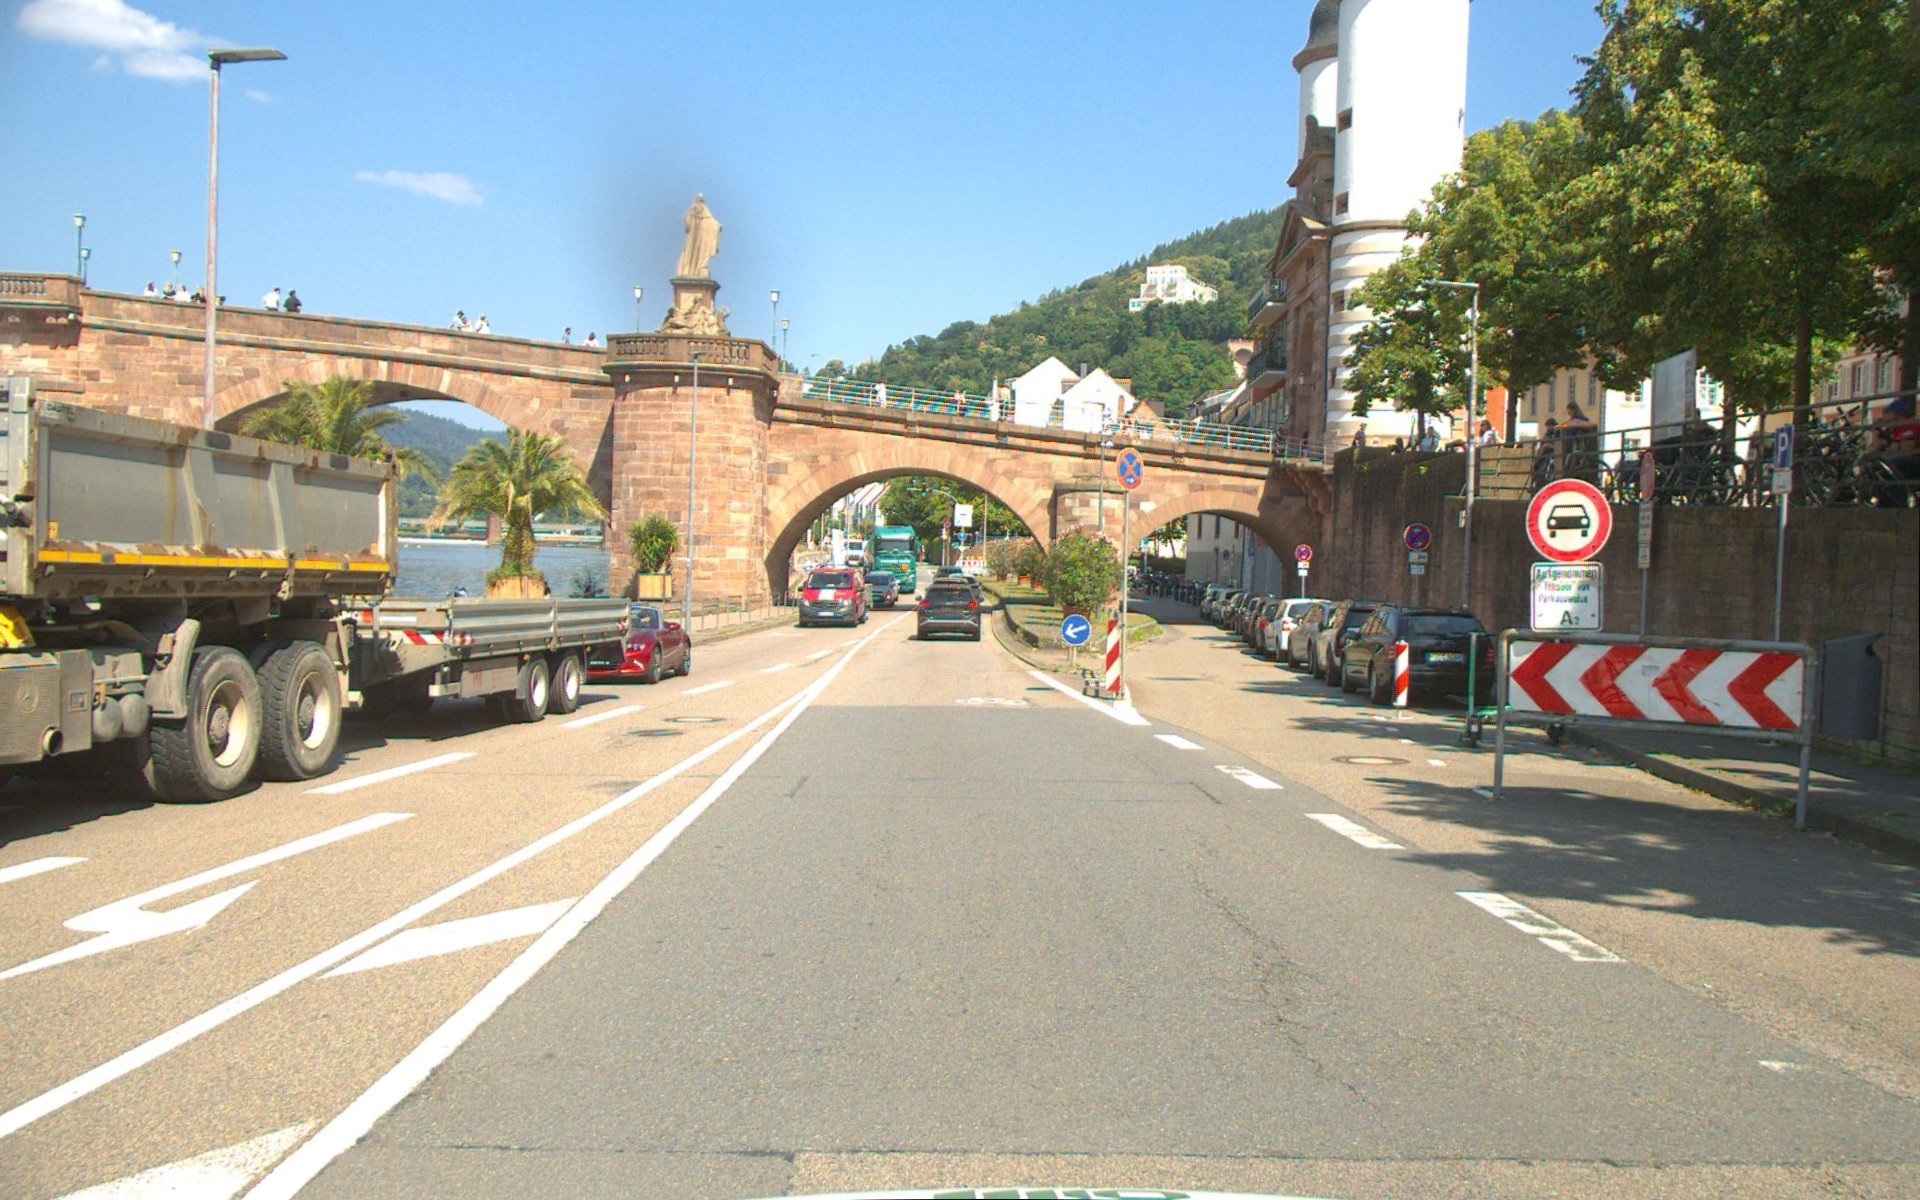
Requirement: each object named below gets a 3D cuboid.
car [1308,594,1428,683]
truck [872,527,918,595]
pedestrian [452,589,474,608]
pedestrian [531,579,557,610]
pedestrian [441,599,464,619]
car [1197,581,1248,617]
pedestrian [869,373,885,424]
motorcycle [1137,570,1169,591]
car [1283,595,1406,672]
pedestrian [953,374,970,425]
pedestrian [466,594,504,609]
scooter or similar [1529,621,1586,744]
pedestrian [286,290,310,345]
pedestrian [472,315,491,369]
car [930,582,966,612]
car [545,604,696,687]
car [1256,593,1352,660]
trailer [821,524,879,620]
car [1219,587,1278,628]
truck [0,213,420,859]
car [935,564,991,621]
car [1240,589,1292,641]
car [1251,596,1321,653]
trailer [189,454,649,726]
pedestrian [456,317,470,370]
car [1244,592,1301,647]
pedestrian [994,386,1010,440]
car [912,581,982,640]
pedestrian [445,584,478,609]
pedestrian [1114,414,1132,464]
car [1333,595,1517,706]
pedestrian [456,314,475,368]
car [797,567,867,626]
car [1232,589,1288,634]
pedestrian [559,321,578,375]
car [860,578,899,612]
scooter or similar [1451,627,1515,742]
[{"bbox_3d":[7.330,0.643,30.024,1.578,1.438,3.906,1,1,6],"label":"car"},{"bbox_3d":[-3.747,-2.325,96.126,2.472,3.813,6.247,0,2,-1],"label":"truck"},{"bbox_3d":[-15.673,-0.046,52.138,0.453,0.574,0.515,-3,0,11],"label":"pedestrian"},{"bbox_3d":[-17.326,-0.221,68.950,0.711,1.262,1.146,1,0,5],"label":"pedestrian"},{"bbox_3d":[-15.568,0.268,50.754,0.453,0.574,0.515,-3,0,11],"label":"pedestrian"},{"bbox_3d":[11.837,-0.062,74.835,1.853,1.518,4.419,1,1,4],"label":"car"},{"bbox_3d":[-3.438,-8.353,68.584,0.569,2.049,0.586,1,0,1],"label":"pedestrian"},{"bbox_3d":[12.085,-1.194,103.623,2.175,1.289,0.620,0,2,-38],"label":"motorcycle"},{"bbox_3d":[8.023,0.653,34.933,1.717,1.457,4.758,1,1,3],"label":"car"},{"bbox_3d":[0.046,-8.314,68.637,0.670,2.049,0.586,1,0,1],"label":"pedestrian"},{"bbox_3d":[-14.654,0.034,51.058,0.631,0.429,1.742,-1,1,2],"label":"pedestrian"},{"bbox_3d":[6.495,0.872,18.004,0.520,1.252,1.272,1,0,18],"label":"scooter or similar"},{"bbox_3d":[-26.239,-11.196,65.543,0.679,2.049,0.625,1,0,-3],"label":"pedestrian"},{"bbox_3d":[-19.070,-10.291,65.942,0.611,2.049,0.694,1,0,-6],"label":"pedestrian"},{"bbox_3d":[-0.726,-0.217,97.167,1.953,1.691,3.999,1,1,-2],"label":"car"},{"bbox_3d":[-5.502,0.699,27.234,1.636,1.215,3.630,0,1,1],"label":"car"},{"bbox_3d":[8.284,0.609,40.076,1.675,1.483,3.548,1,1,2],"label":"car"},{"bbox_3d":[-3.978,-1.023,60.135,1.705,3.378,3.385,0,1,2],"label":"trailer"},{"bbox_3d":[11.314,0.269,65.101,1.738,1.461,4.495,1,1,3],"label":"car"},{"bbox_3d":[-6.392,-0.353,10.911,2.586,3.517,7.875,0,0,4],"label":"truck"},{"bbox_3d":[0.139,-0.310,62.030,1.952,2.049,4.001,1,1,2],"label":"car"},{"bbox_3d":[9.908,0.464,53.539,1.557,1.547,3.907,1,1,10],"label":"car"},{"bbox_3d":[8.633,0.615,44.068,1.674,1.412,4.411,0,0,9],"label":"car"},{"bbox_3d":[-5.816,-0.097,19.223,2.641,2.575,6.951,0,0,4],"label":"trailer"},{"bbox_3d":[-19.966,-10.309,66.467,0.449,2.049,0.553,1,0,-6],"label":"pedestrian"},{"bbox_3d":[9.184,0.546,48.810,1.463,1.510,3.719,1,1,8],"label":"car"},{"bbox_3d":[1.687,-7.430,65.707,0.610,2.049,0.695,1,0,2],"label":"pedestrian"},{"bbox_3d":[-0.315,0.266,46.301,1.818,1.550,4.001,1,1,1],"label":"car"},{"bbox_3d":[-15.764,-0.101,52.305,0.770,0.755,0.711,2,1,11],"label":"pedestrian"},{"bbox_3d":[6.967,-6.872,70.663,0.670,2.049,0.586,1,0,1],"label":"pedestrian"},{"bbox_3d":[6.973,0.692,25.255,1.804,1.475,4.537,1,1,4],"label":"car"},{"bbox_3d":[-19.663,-10.296,65.780,0.611,2.049,0.694,1,0,-6],"label":"pedestrian"},{"bbox_3d":[-4.197,-0.172,54.908,1.835,1.859,4.545,0,1,2],"label":"car"},{"bbox_3d":[10.834,0.386,59.889,1.738,1.528,3.990,0,1,7],"label":"car"},{"bbox_3d":[-15.659,-10.089,66.149,0.611,2.049,0.694,1,0,-6],"label":"pedestrian"},{"bbox_3d":[-3.683,-0.252,76.233,1.503,1.461,3.729,0,1,1],"label":"car"},{"bbox_3d":[5.470,0.862,17.361,0.520,1.108,1.440,1,0,13],"label":"scooter or similar"}]
